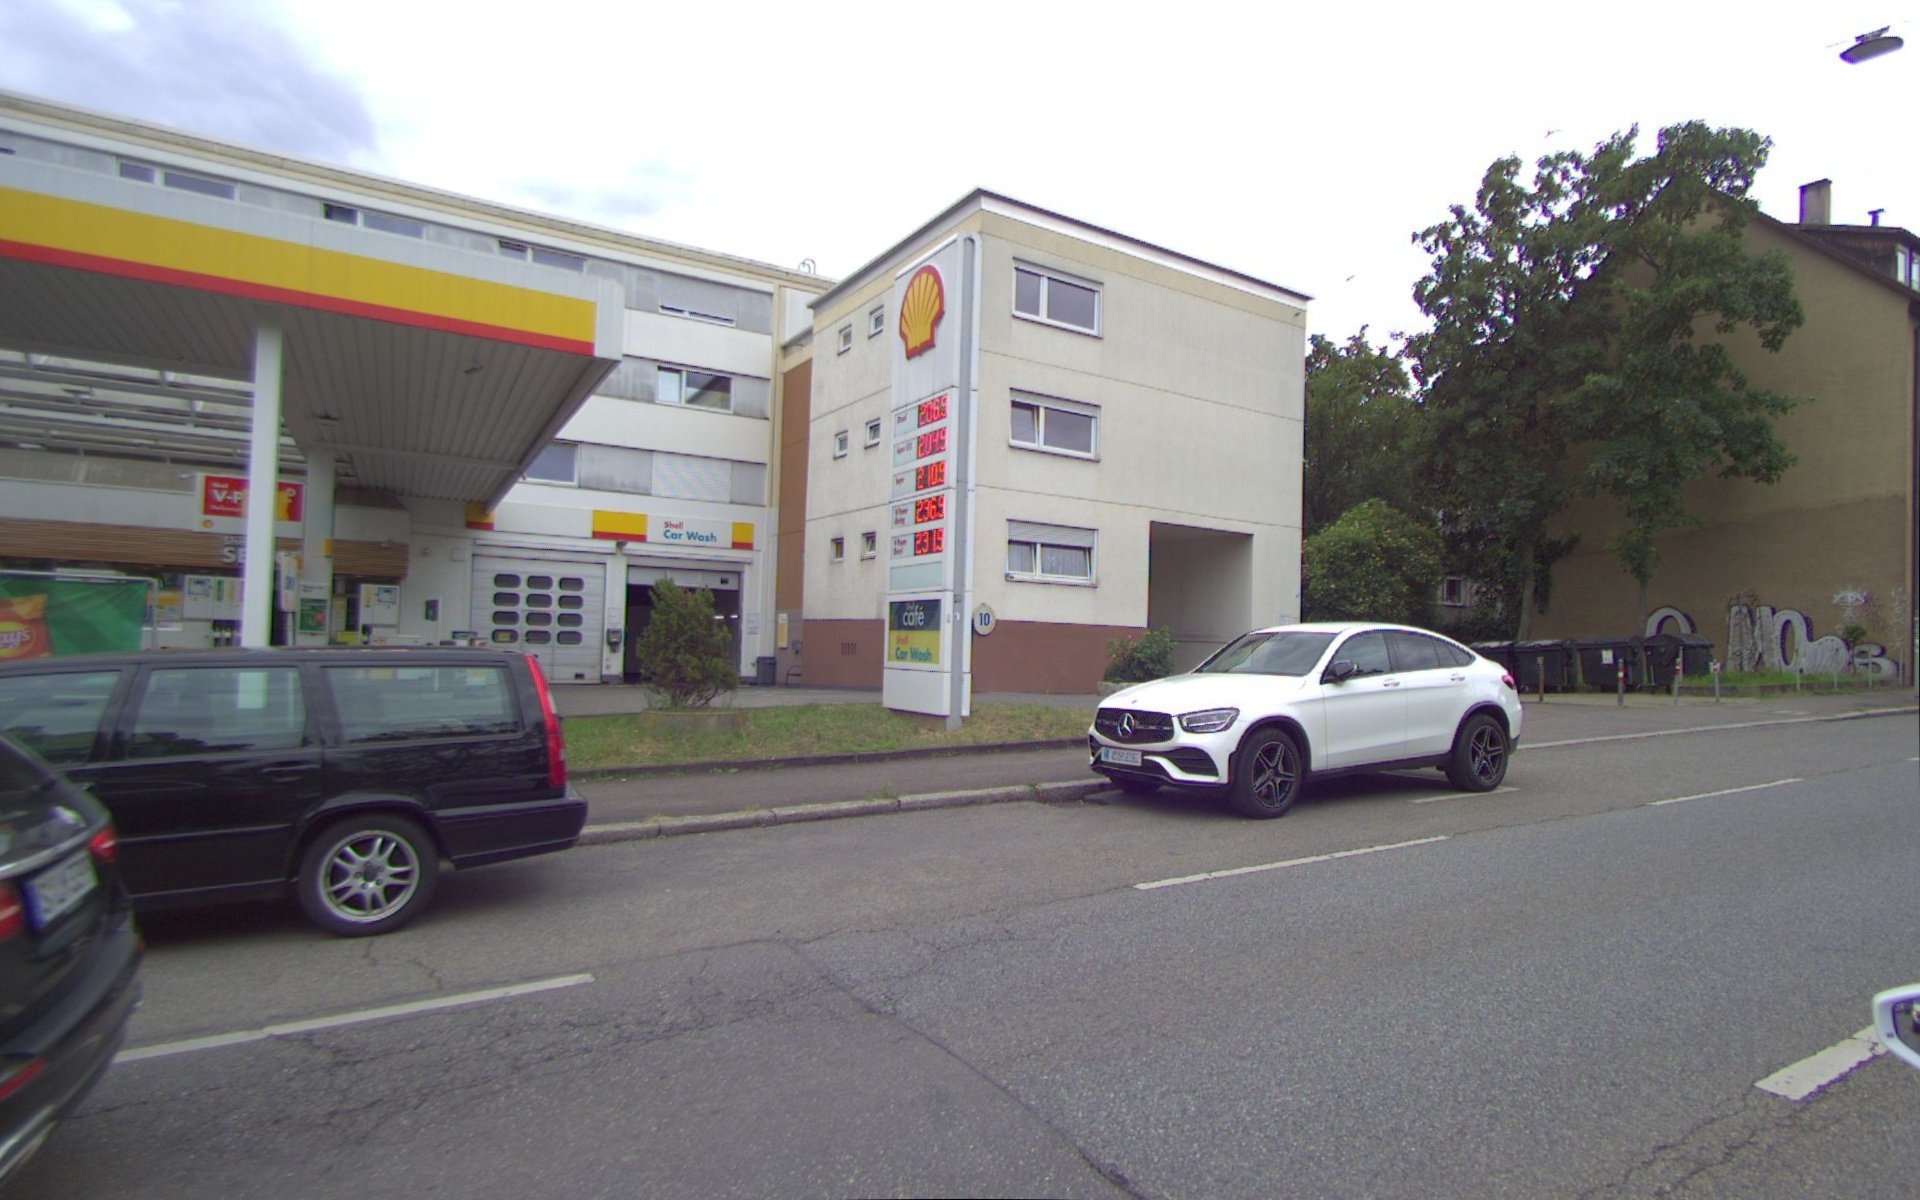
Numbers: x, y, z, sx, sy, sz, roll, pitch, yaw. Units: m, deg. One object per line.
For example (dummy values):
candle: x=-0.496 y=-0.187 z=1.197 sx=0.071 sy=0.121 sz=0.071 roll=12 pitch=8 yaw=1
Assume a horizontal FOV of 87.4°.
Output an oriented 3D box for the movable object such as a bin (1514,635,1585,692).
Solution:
movable object such as a bin: x=15.762 y=1.673 z=26.886 sx=0.903 sy=1.447 sz=1.385 roll=1 pitch=-1 yaw=-32

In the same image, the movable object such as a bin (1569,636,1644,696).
movable object such as a bin: x=16.502 y=1.665 z=25.659 sx=0.903 sy=1.447 sz=1.385 roll=1 pitch=-1 yaw=-32

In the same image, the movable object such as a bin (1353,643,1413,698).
movable object such as a bin: x=11.696 y=1.926 z=27.750 sx=1.382 sy=1.447 sz=0.905 roll=1 pitch=-1 yaw=-32

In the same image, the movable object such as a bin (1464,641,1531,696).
movable object such as a bin: x=15.017 y=1.886 z=28.098 sx=0.903 sy=1.447 sz=1.385 roll=1 pitch=-1 yaw=-32

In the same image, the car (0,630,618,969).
car: x=-4.357 y=0.897 z=5.208 sx=4.684 sy=1.450 sz=1.791 roll=1 pitch=-3 yaw=-28

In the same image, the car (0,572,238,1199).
car: x=-3.984 y=0.686 z=1.550 sx=4.445 sy=1.485 sz=1.770 roll=1 pitch=-2 yaw=-30

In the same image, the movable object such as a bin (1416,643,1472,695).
movable object such as a bin: x=14.104 y=1.996 z=29.271 sx=1.382 sy=1.447 sz=0.905 roll=1 pitch=-1 yaw=-32

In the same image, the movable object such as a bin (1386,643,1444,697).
movable object such as a bin: x=12.910 y=1.961 z=28.509 sx=1.382 sy=1.447 sz=0.905 roll=1 pitch=-1 yaw=-32

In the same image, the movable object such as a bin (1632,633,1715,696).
movable object such as a bin: x=17.106 y=1.518 z=24.076 sx=1.266 sy=1.447 sz=1.273 roll=1 pitch=-1 yaw=-34

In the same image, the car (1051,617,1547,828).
car: x=3.316 y=1.000 z=9.607 sx=4.643 sy=1.598 sz=1.907 roll=1 pitch=-2 yaw=-30
